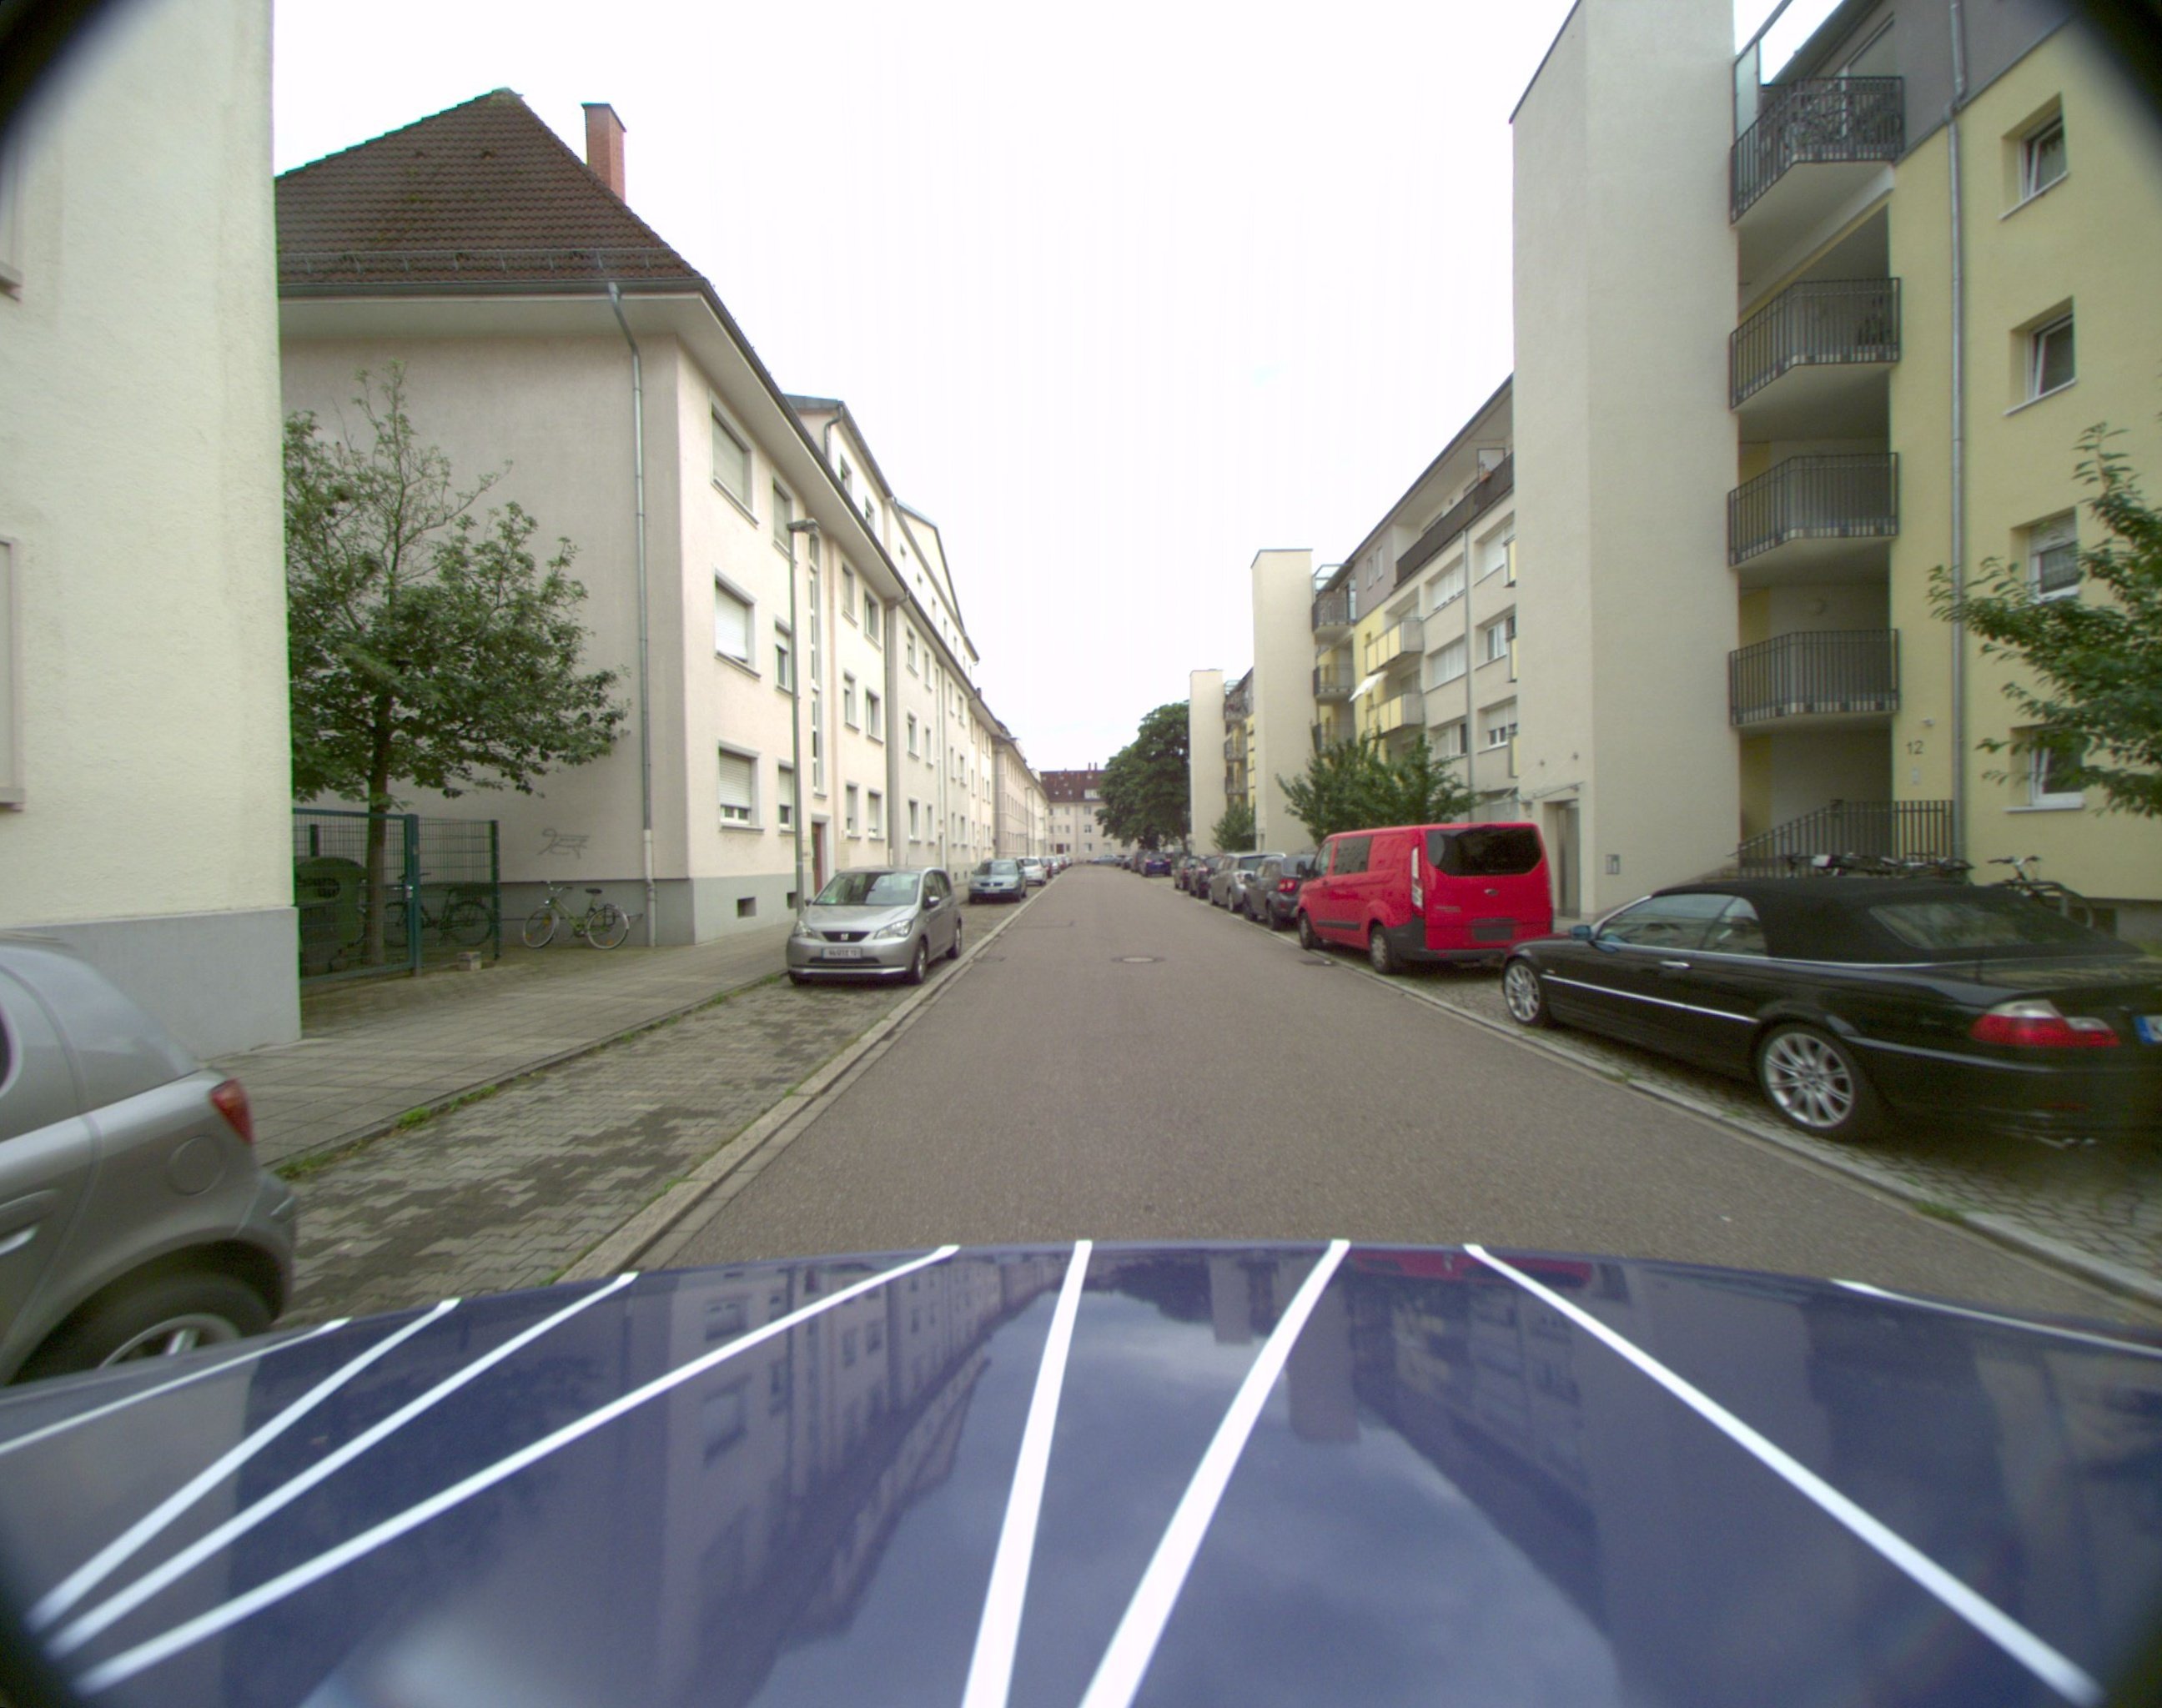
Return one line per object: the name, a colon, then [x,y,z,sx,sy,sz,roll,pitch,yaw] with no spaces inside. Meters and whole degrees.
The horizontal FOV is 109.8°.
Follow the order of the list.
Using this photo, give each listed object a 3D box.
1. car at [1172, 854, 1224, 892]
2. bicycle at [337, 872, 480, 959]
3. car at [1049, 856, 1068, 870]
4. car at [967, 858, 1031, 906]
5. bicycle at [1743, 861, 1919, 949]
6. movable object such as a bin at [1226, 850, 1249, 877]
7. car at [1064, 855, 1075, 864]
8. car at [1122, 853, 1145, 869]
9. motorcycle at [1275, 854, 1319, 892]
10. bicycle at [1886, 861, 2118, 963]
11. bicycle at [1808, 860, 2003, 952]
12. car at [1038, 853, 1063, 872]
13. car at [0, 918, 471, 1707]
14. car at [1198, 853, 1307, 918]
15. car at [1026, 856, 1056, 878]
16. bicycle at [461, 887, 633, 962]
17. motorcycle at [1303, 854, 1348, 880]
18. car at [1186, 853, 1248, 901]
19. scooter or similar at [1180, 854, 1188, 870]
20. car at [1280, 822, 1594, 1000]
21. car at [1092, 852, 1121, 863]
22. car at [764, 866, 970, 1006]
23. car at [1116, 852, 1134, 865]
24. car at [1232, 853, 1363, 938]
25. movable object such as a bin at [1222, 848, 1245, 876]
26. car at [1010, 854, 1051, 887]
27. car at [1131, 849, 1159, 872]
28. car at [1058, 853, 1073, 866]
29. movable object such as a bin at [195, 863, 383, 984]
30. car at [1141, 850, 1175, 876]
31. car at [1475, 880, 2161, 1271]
car: [5.050,0.785,33.317,1.647,1.430,3.856,-3,0,1]
bicycle: [-10.572,0.955,11.977,1.619,1.275,0.598,-1,1,-4]
car: [-2.353,0.920,80.272,1.758,1.477,3.773,0,0,1]
car: [-2.788,0.916,26.620,1.729,1.460,4.264,-1,0,0]
bicycle: [10.364,0.693,10.532,1.839,1.112,0.605,-2,1,-1]
movable object such as a bin: [8.602,0.522,41.805,1.004,1.438,1.314,-2,1,1]
car: [-1.614,0.778,107.714,1.563,1.334,3.788,-1,0,1]
car: [5.434,0.701,78.791,1.919,1.431,4.433,-3,0,-1]
motorcycle: [7.883,0.653,27.857,0.871,1.299,2.420,-3,0,1]
bicycle: [10.704,0.669,8.880,1.838,1.112,0.570,-1,0,7]
bicycle: [10.658,0.666,9.856,1.839,1.112,0.570,-1,1,2]
car: [-2.393,0.640,61.180,1.792,1.455,4.040,-1,0,1]
car: [-3.047,1.002,0.680,1.729,1.508,4.060,-1,0,-1]
car: [4.779,0.802,21.908,1.839,1.561,4.860,-3,0,-2]
car: [-2.625,0.840,51.098,1.758,1.401,3.936,-1,0,1]
bicycle: [-8.390,1.104,11.997,2.213,1.070,0.648,-1,1,-1]
motorcycle: [10.465,0.549,32.561,1.754,1.122,0.593,0,0,-3]
car: [4.866,0.774,27.709,1.657,1.521,3.895,-3,0,3]
scooter or similar: [7.901,0.630,58.477,0.438,1.236,1.135,-1,0,1]
car: [4.771,0.648,11.253,2.157,1.942,4.920,-3,0,-2]
car: [4.082,0.556,122.080,4.545,1.551,1.565,-1,1,5]
car: [-2.755,0.978,10.769,1.729,1.483,4.060,-1,0,0]
car: [5.719,0.527,98.790,2.000,1.566,4.209,-3,0,1]
car: [4.630,0.808,16.887,1.725,1.561,4.054,-3,0,1]
movable object such as a bin: [8.649,0.449,43.220,1.004,1.492,1.314,-2,1,1]
car: [-2.566,0.834,39.338,1.788,1.590,3.805,-1,0,2]
car: [5.315,0.549,63.763,1.891,1.844,4.785,-1,0,0]
car: [-2.017,0.709,97.090,1.764,1.595,3.956,-1,0,1]
movable object such as a bin: [-10.077,0.845,9.739,1.164,1.435,1.149,-1,0,0]
car: [5.143,0.596,51.419,1.804,1.617,4.472,-2,0,1]
car: [4.820,0.961,5.228,1.875,1.316,4.361,-3,0,-1]
